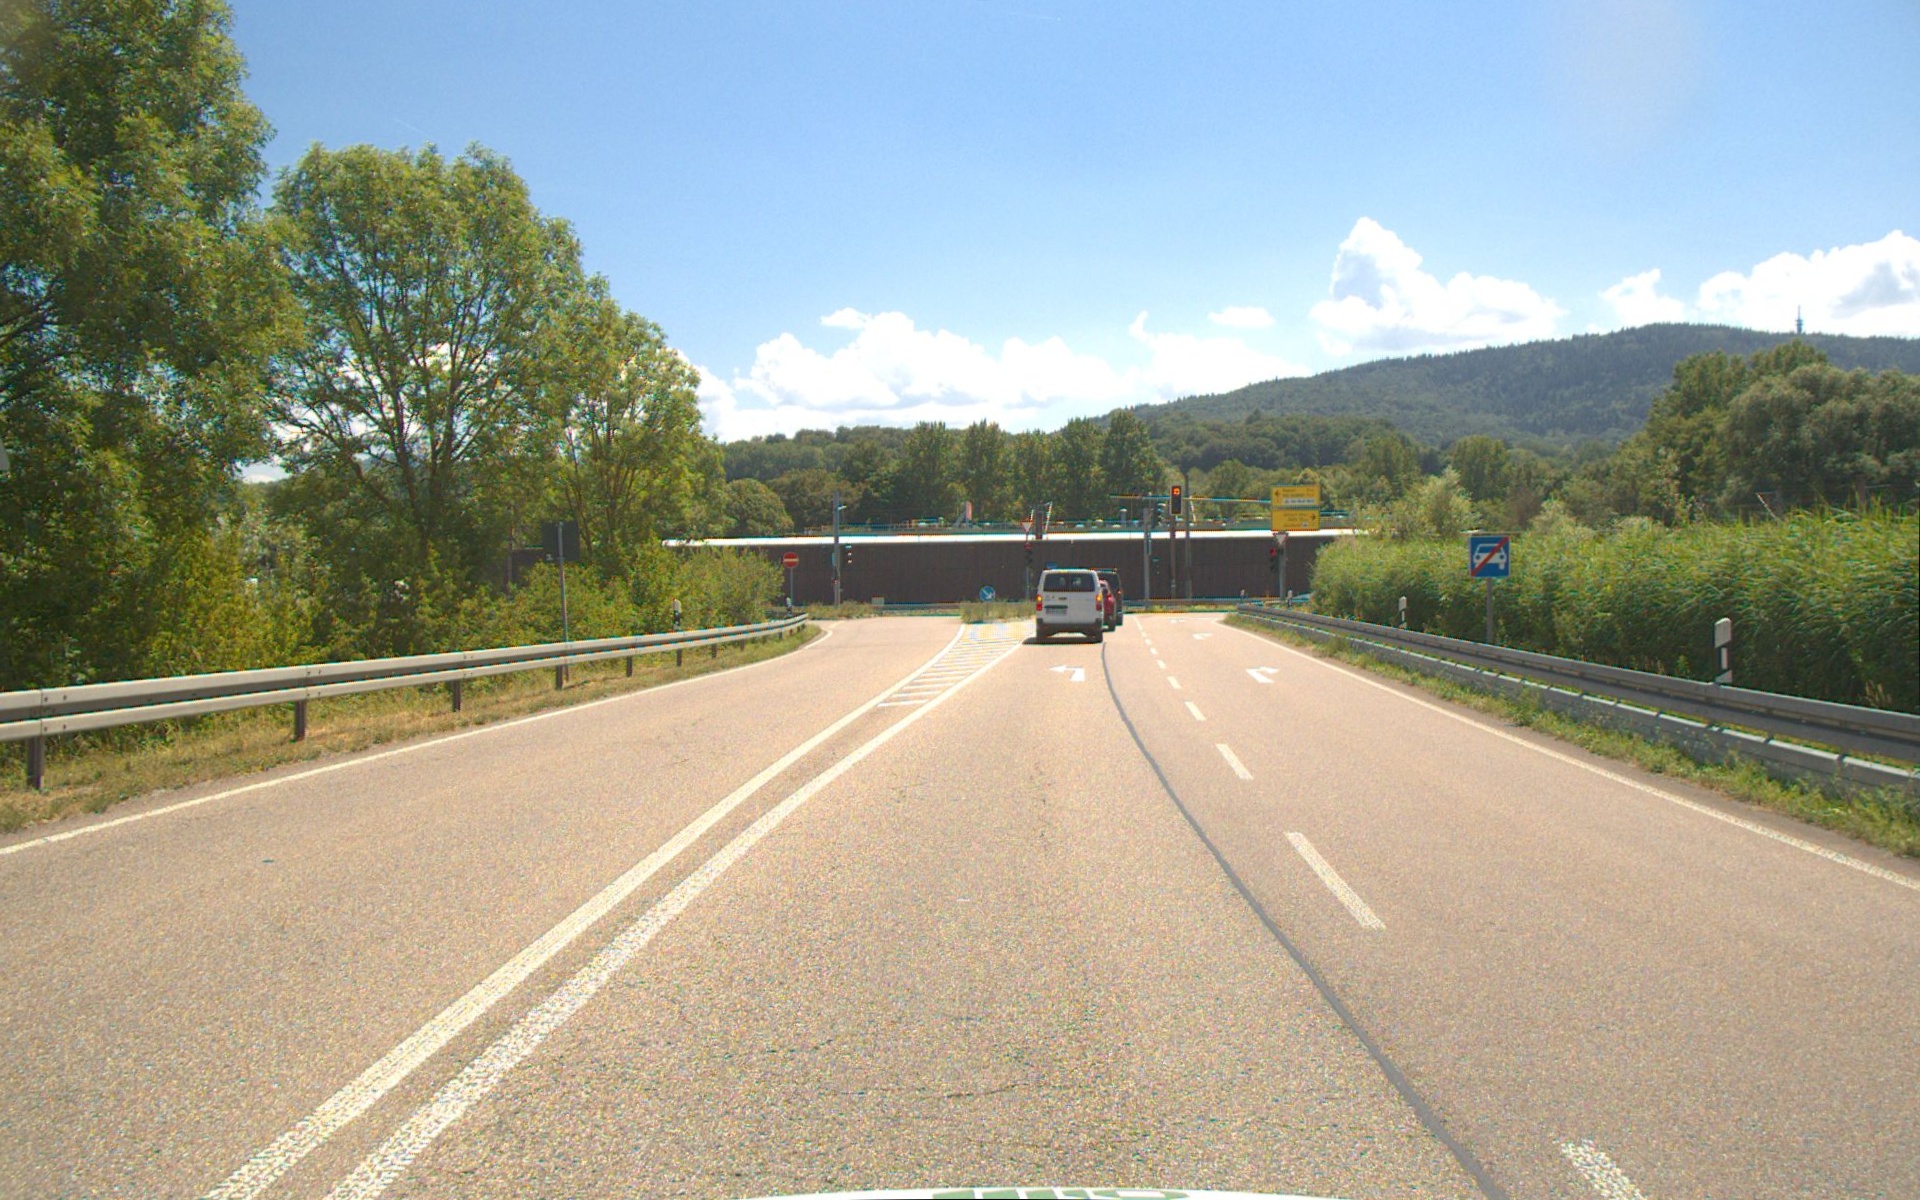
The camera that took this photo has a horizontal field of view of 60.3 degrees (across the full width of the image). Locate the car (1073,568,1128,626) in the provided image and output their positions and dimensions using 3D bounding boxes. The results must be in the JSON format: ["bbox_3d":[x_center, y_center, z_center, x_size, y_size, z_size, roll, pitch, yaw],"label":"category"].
[{"bbox_3d":[5.332,-0.102,62.539,1.951,2.048,4.003,-2,0,5],"label":"car"}]

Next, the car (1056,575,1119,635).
[{"bbox_3d":[4.296,0.152,55.308,1.951,1.844,4.003,-2,0,5],"label":"car"}]

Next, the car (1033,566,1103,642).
[{"bbox_3d":[3.010,0.094,45.568,1.831,1.999,4.003,0,0,5],"label":"car"}]
